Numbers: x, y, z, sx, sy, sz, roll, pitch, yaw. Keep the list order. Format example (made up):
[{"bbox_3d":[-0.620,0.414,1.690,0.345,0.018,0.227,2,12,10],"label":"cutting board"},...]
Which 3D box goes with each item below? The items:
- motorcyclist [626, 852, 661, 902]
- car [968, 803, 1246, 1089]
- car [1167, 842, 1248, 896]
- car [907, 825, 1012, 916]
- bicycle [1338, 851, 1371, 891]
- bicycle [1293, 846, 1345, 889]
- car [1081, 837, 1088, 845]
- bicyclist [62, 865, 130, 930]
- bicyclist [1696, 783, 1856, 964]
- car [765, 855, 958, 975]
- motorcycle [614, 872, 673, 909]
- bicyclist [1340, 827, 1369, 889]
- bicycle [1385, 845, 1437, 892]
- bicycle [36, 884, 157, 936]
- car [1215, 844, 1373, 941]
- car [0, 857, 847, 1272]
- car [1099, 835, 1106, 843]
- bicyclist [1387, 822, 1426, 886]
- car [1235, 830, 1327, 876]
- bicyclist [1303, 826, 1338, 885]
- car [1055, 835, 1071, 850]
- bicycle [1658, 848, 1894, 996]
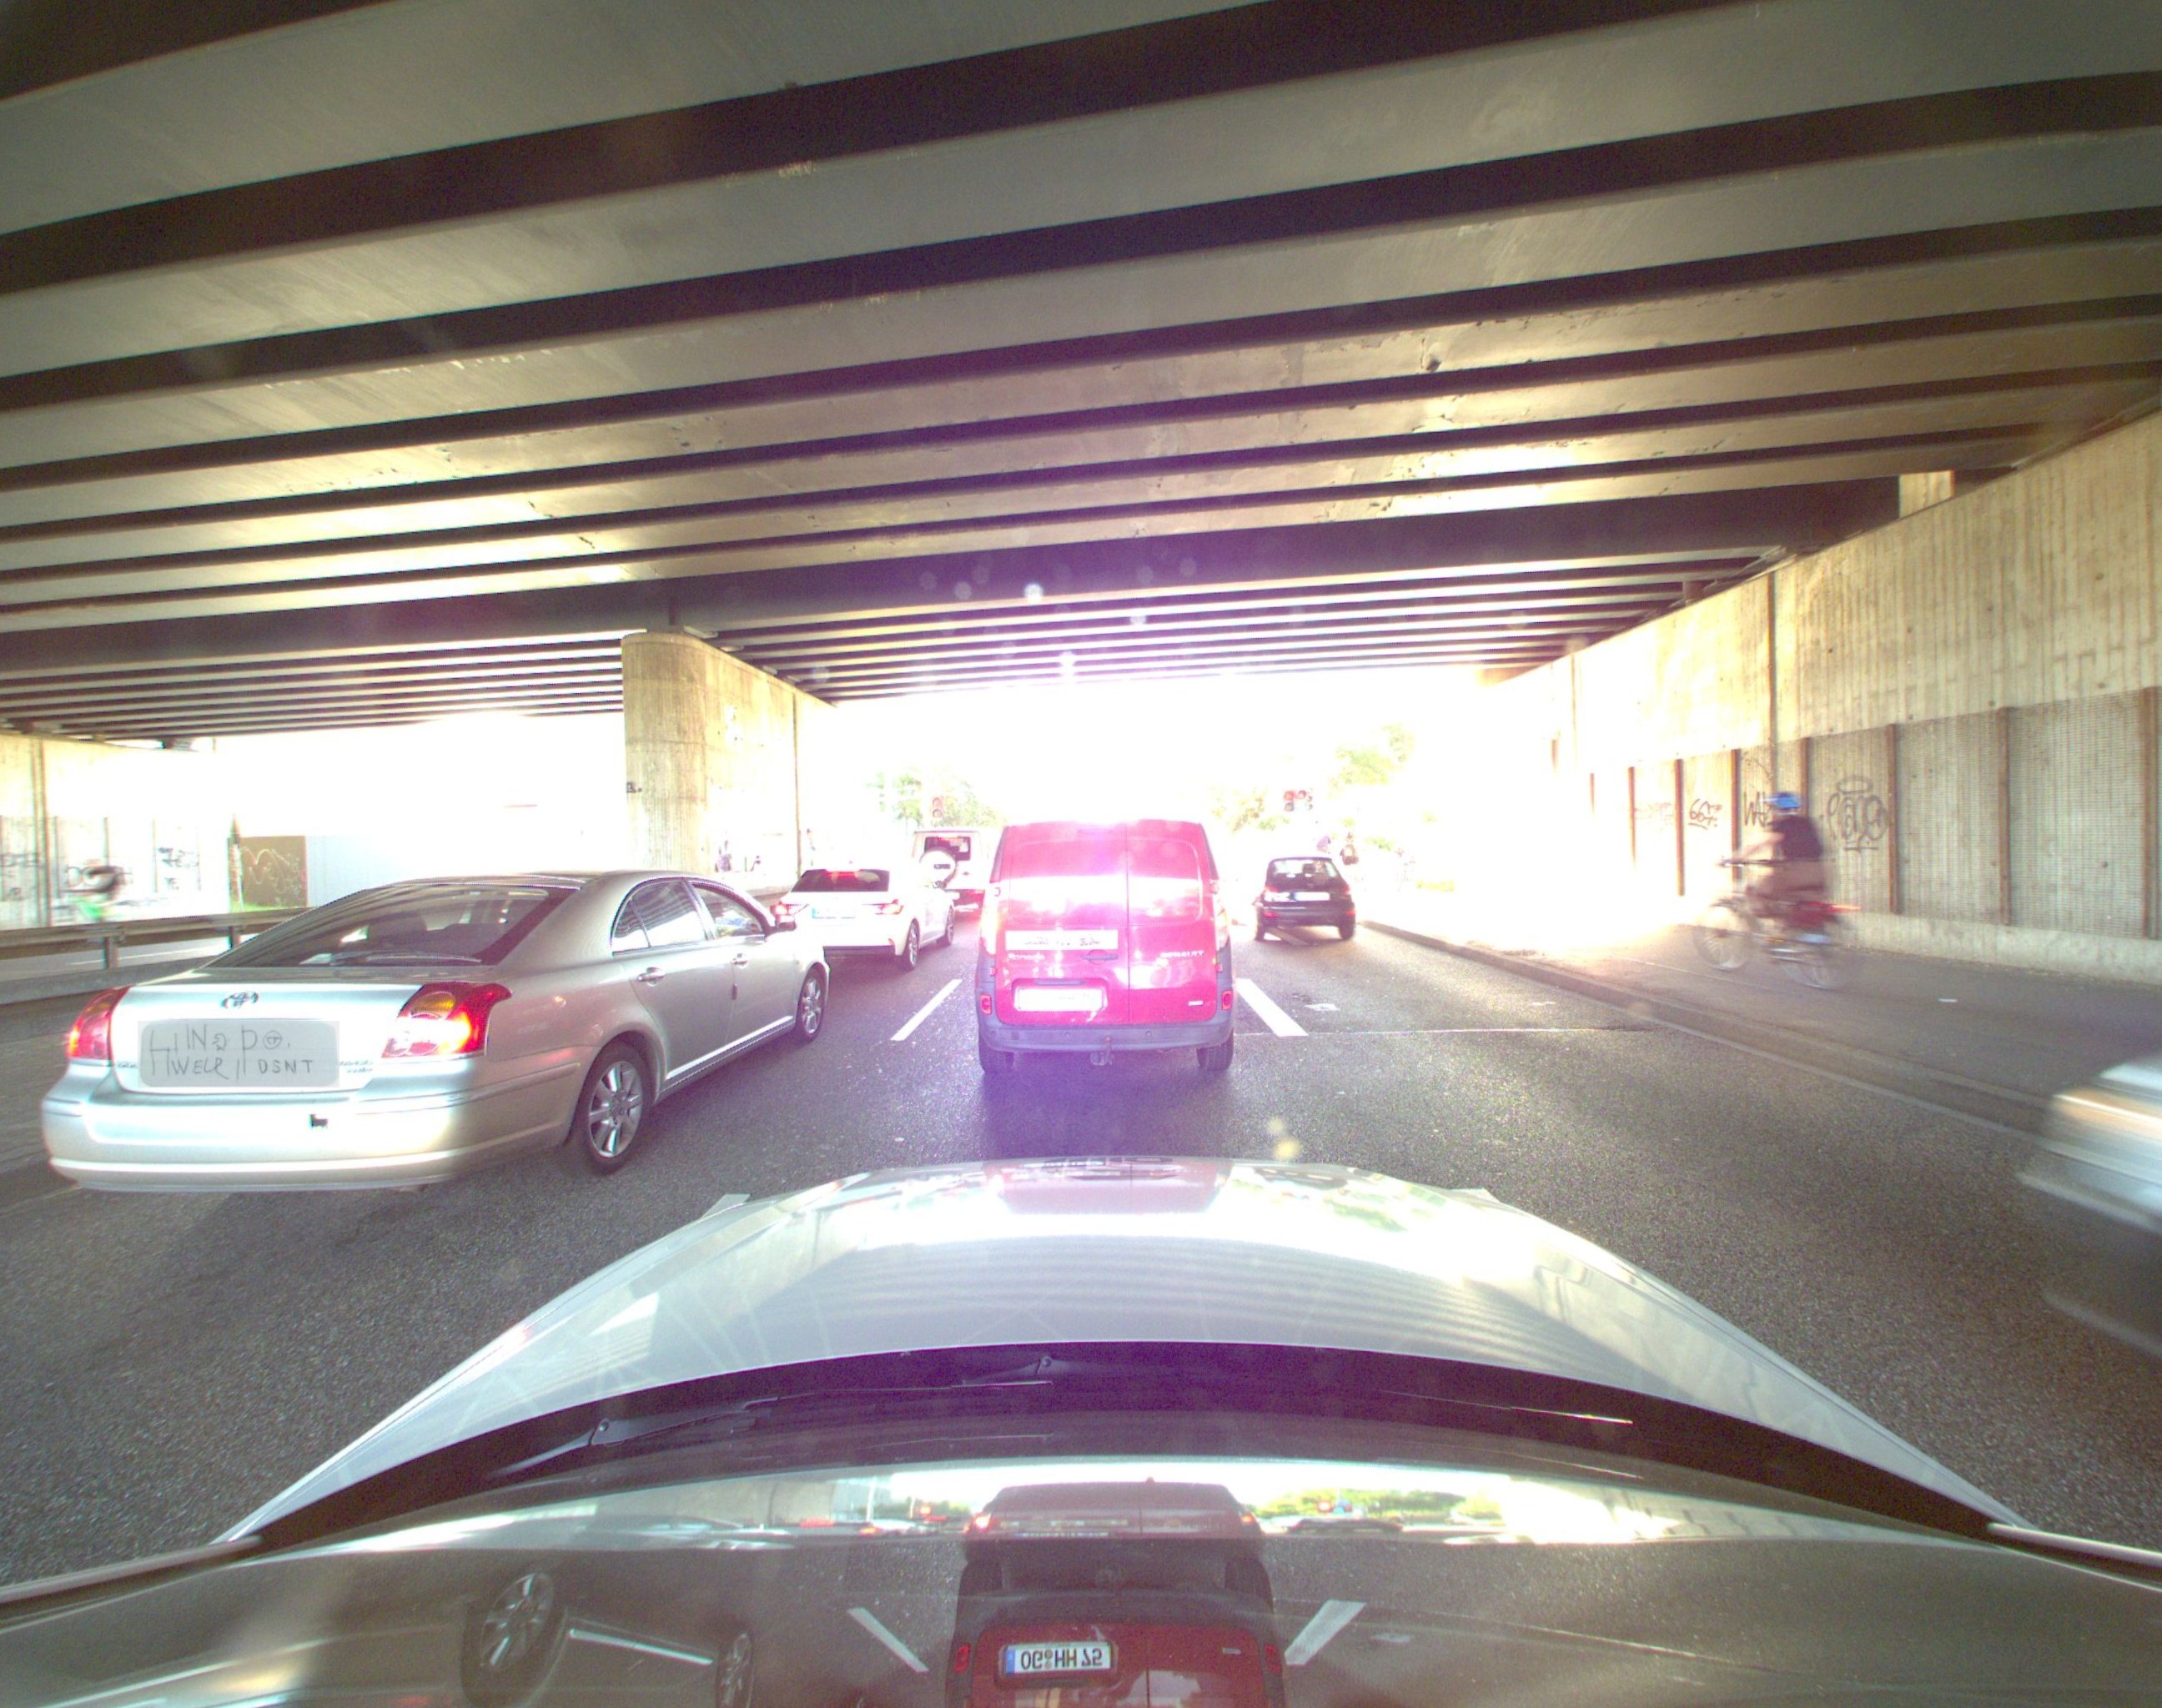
[{"bbox_3d":[-13.670,0.715,25.450,0.694,1.527,0.698,0,0,1],"label":"motorcyclist"},{"bbox_3d":[0.224,0.565,7.057,1.712,1.764,4.002,0,0,2],"label":"car"},{"bbox_3d":[3.702,0.412,24.600,1.740,1.456,4.664,0,0,0],"label":"car"},{"bbox_3d":[-2.720,0.337,19.065,1.807,1.904,3.814,0,0,1],"label":"car"},{"bbox_3d":[7.289,0.435,21.721,0.672,1.024,1.534,0,0,12],"label":"bicycle"},{"bbox_3d":[6.847,0.375,23.582,0.762,1.146,2.470,-3,0,1],"label":"bicycle"},{"bbox_3d":[1.015,-3.602,225.420,1.741,2.014,3.846,0,0,2],"label":"car"},{"bbox_3d":[-23.964,1.045,19.827,0.625,1.525,0.837,0,-1,1],"label":"bicyclist"},{"bbox_3d":[6.361,0.166,7.502,0.650,1.534,0.847,-4,0,1],"label":"bicyclist"},{"bbox_3d":[-2.929,0.731,11.691,1.687,1.410,3.813,0,0,0],"label":"car"},{"bbox_3d":[-13.677,1.117,25.500,0.690,1.027,2.010,-1,1,2],"label":"motorcycle"},{"bbox_3d":[7.275,0.115,21.677,0.673,1.629,0.646,0,-1,12],"label":"bicyclist"},{"bbox_3d":[8.302,0.350,20.570,0.678,1.113,1.604,-2,0,2],"label":"bicycle"},{"bbox_3d":[-23.961,1.332,19.877,0.631,1.165,1.878,0,0,2],"label":"bicycle"},{"bbox_3d":[3.560,0.583,14.285,1.740,1.456,3.715,0,0,-1],"label":"car"},{"bbox_3d":[-2.997,0.764,5.125,1.690,1.455,4.399,0,0,1],"label":"car"},{"bbox_3d":[5.807,-4.024,220.938,1.986,2.014,4.001,0,0,2],"label":"car"},{"bbox_3d":[8.286,0.001,20.725,0.667,1.561,0.735,-2,-1,2],"label":"bicyclist"},{"bbox_3d":[8.636,-0.089,35.001,4.325,1.833,1.797,-3,2,-44],"label":"car"},{"bbox_3d":[6.809,0.044,23.177,0.744,1.655,0.886,0,-1,1],"label":"bicyclist"},{"bbox_3d":[-2.469,-1.567,112.030,1.986,2.014,4.001,0,0,2],"label":"car"},{"bbox_3d":[6.389,0.555,7.632,0.649,1.167,1.778,-4,1,0],"label":"bicycle"}]
